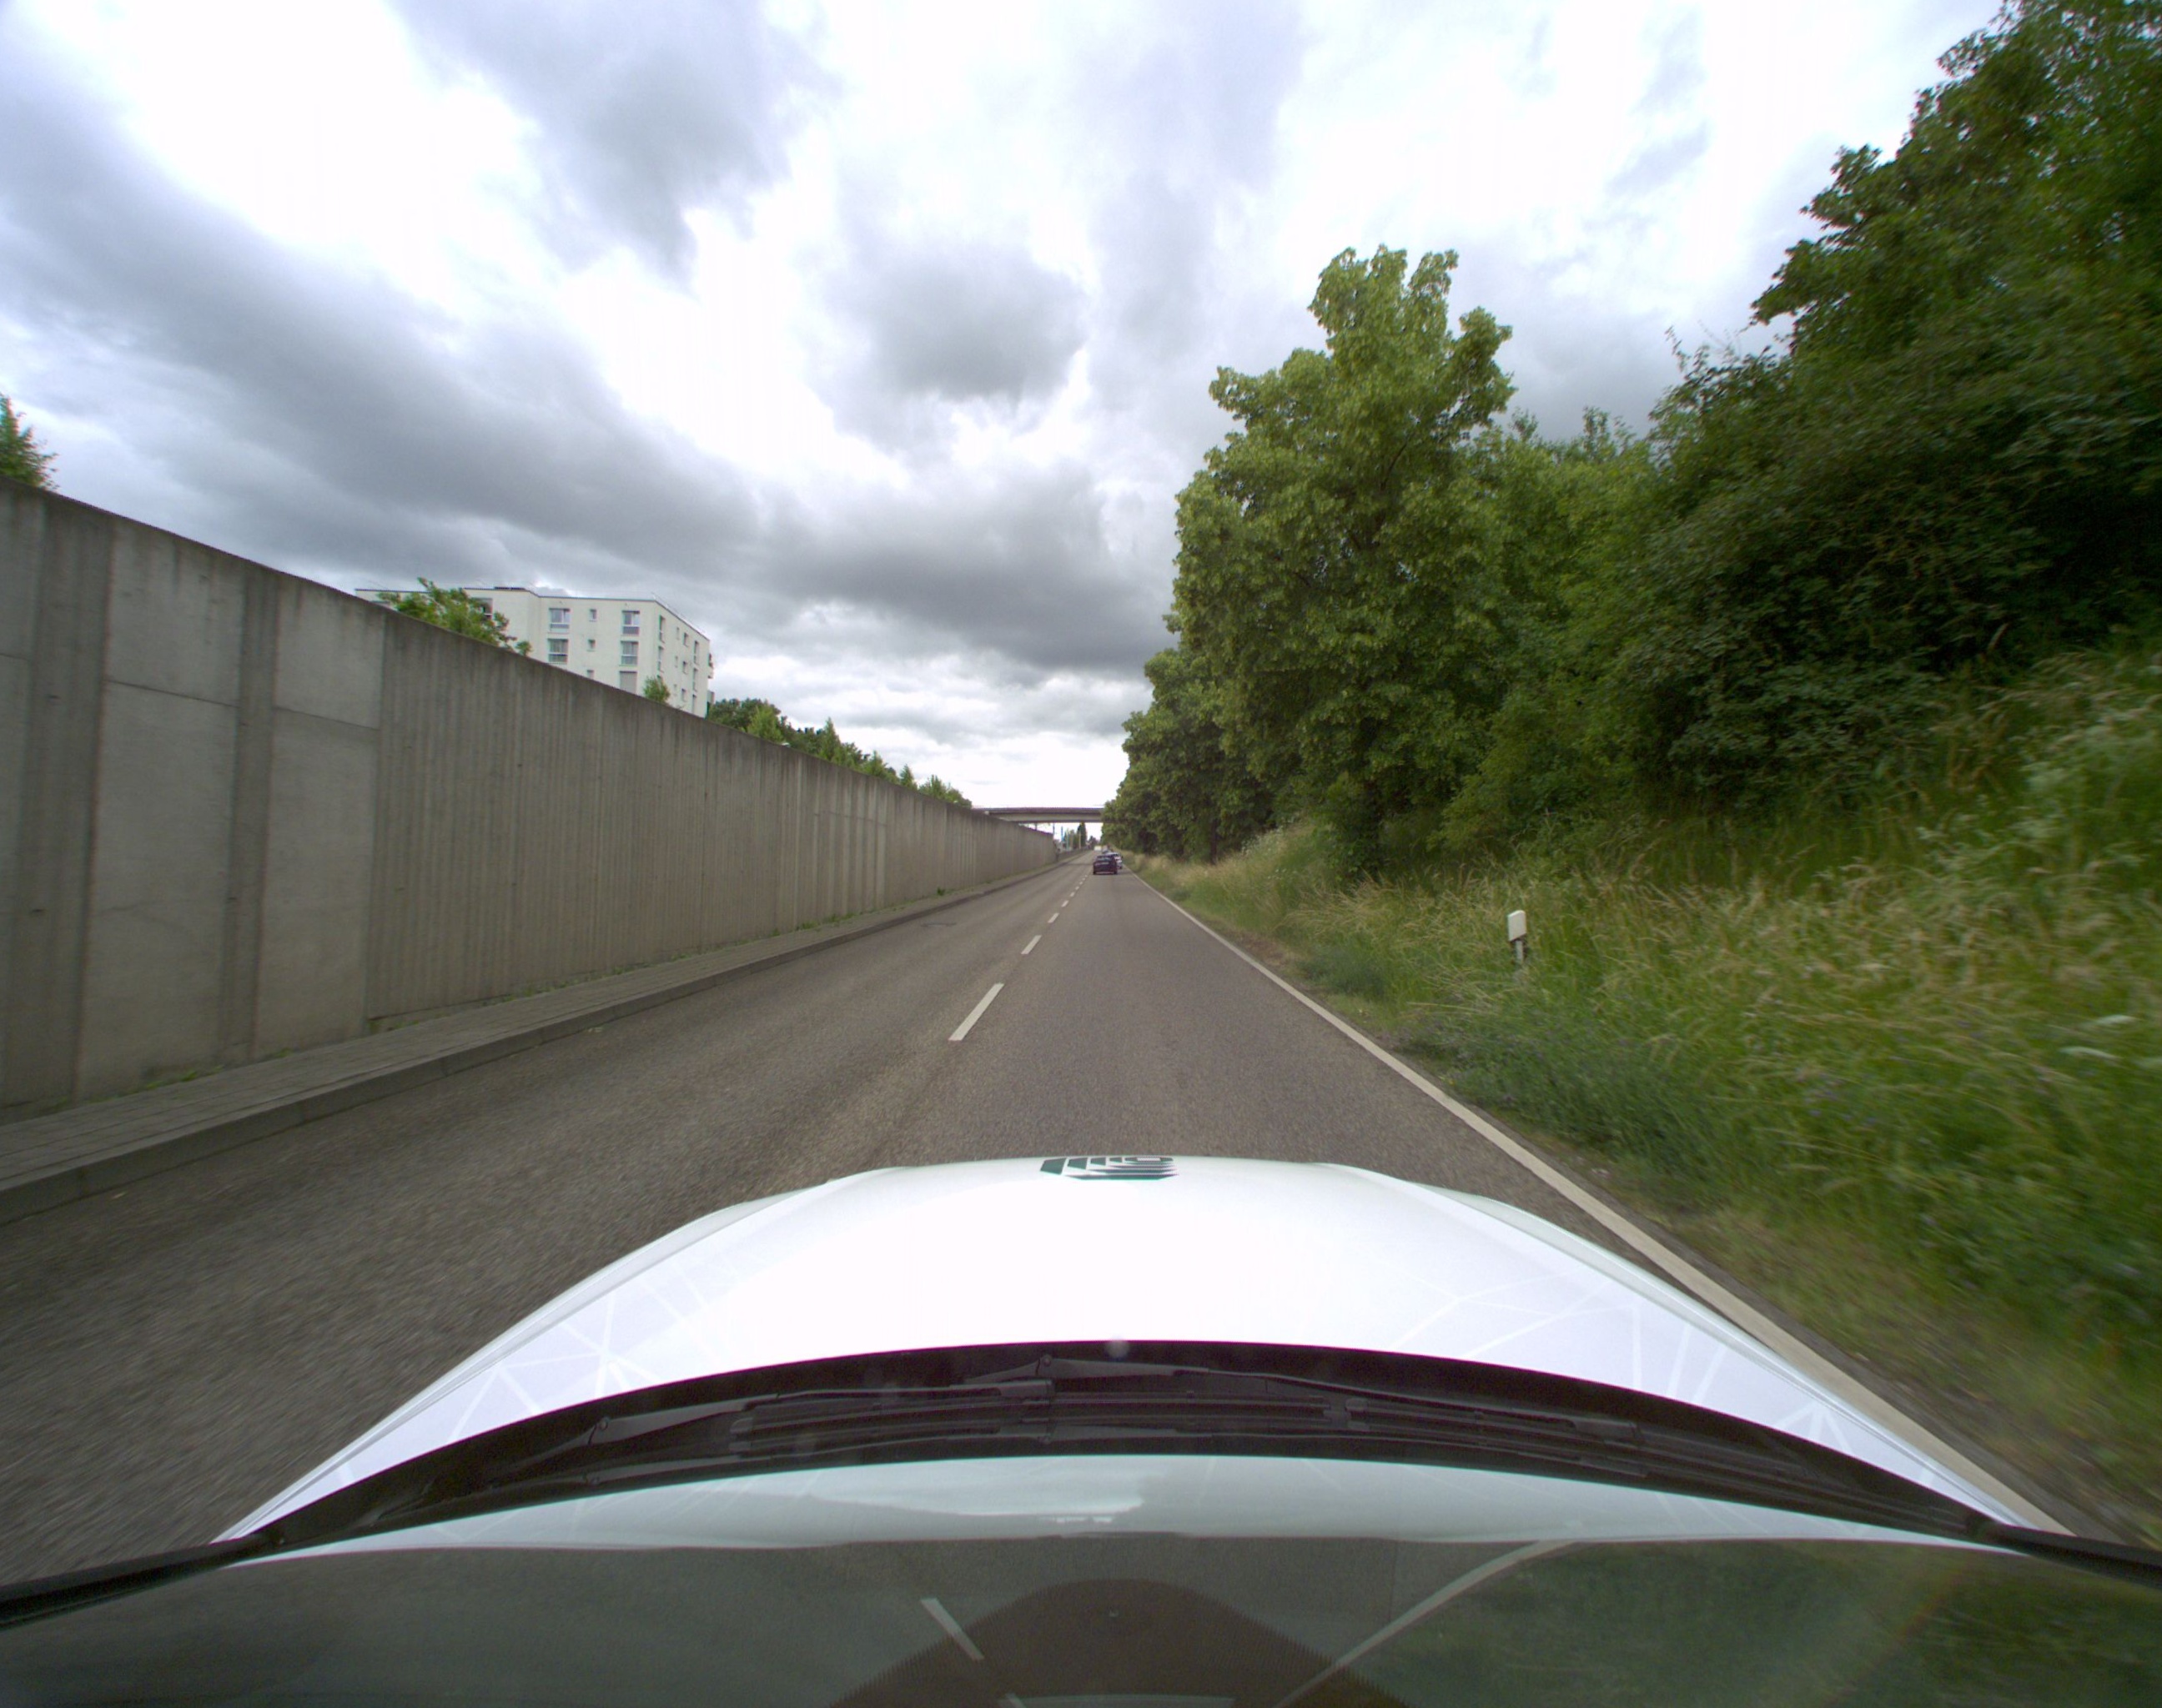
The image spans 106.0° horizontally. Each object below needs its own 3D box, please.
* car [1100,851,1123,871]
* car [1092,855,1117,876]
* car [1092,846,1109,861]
[{"bbox_3d":[2.732,0.650,73.999,1.986,1.753,4.002,-1,0,2],"label":"car"},{"bbox_3d":[1.717,0.797,59.209,1.775,1.468,4.002,-1,0,2],"label":"car"},{"bbox_3d":[2.333,-0.015,97.854,1.986,1.740,4.001,0,-1,2],"label":"car"}]
